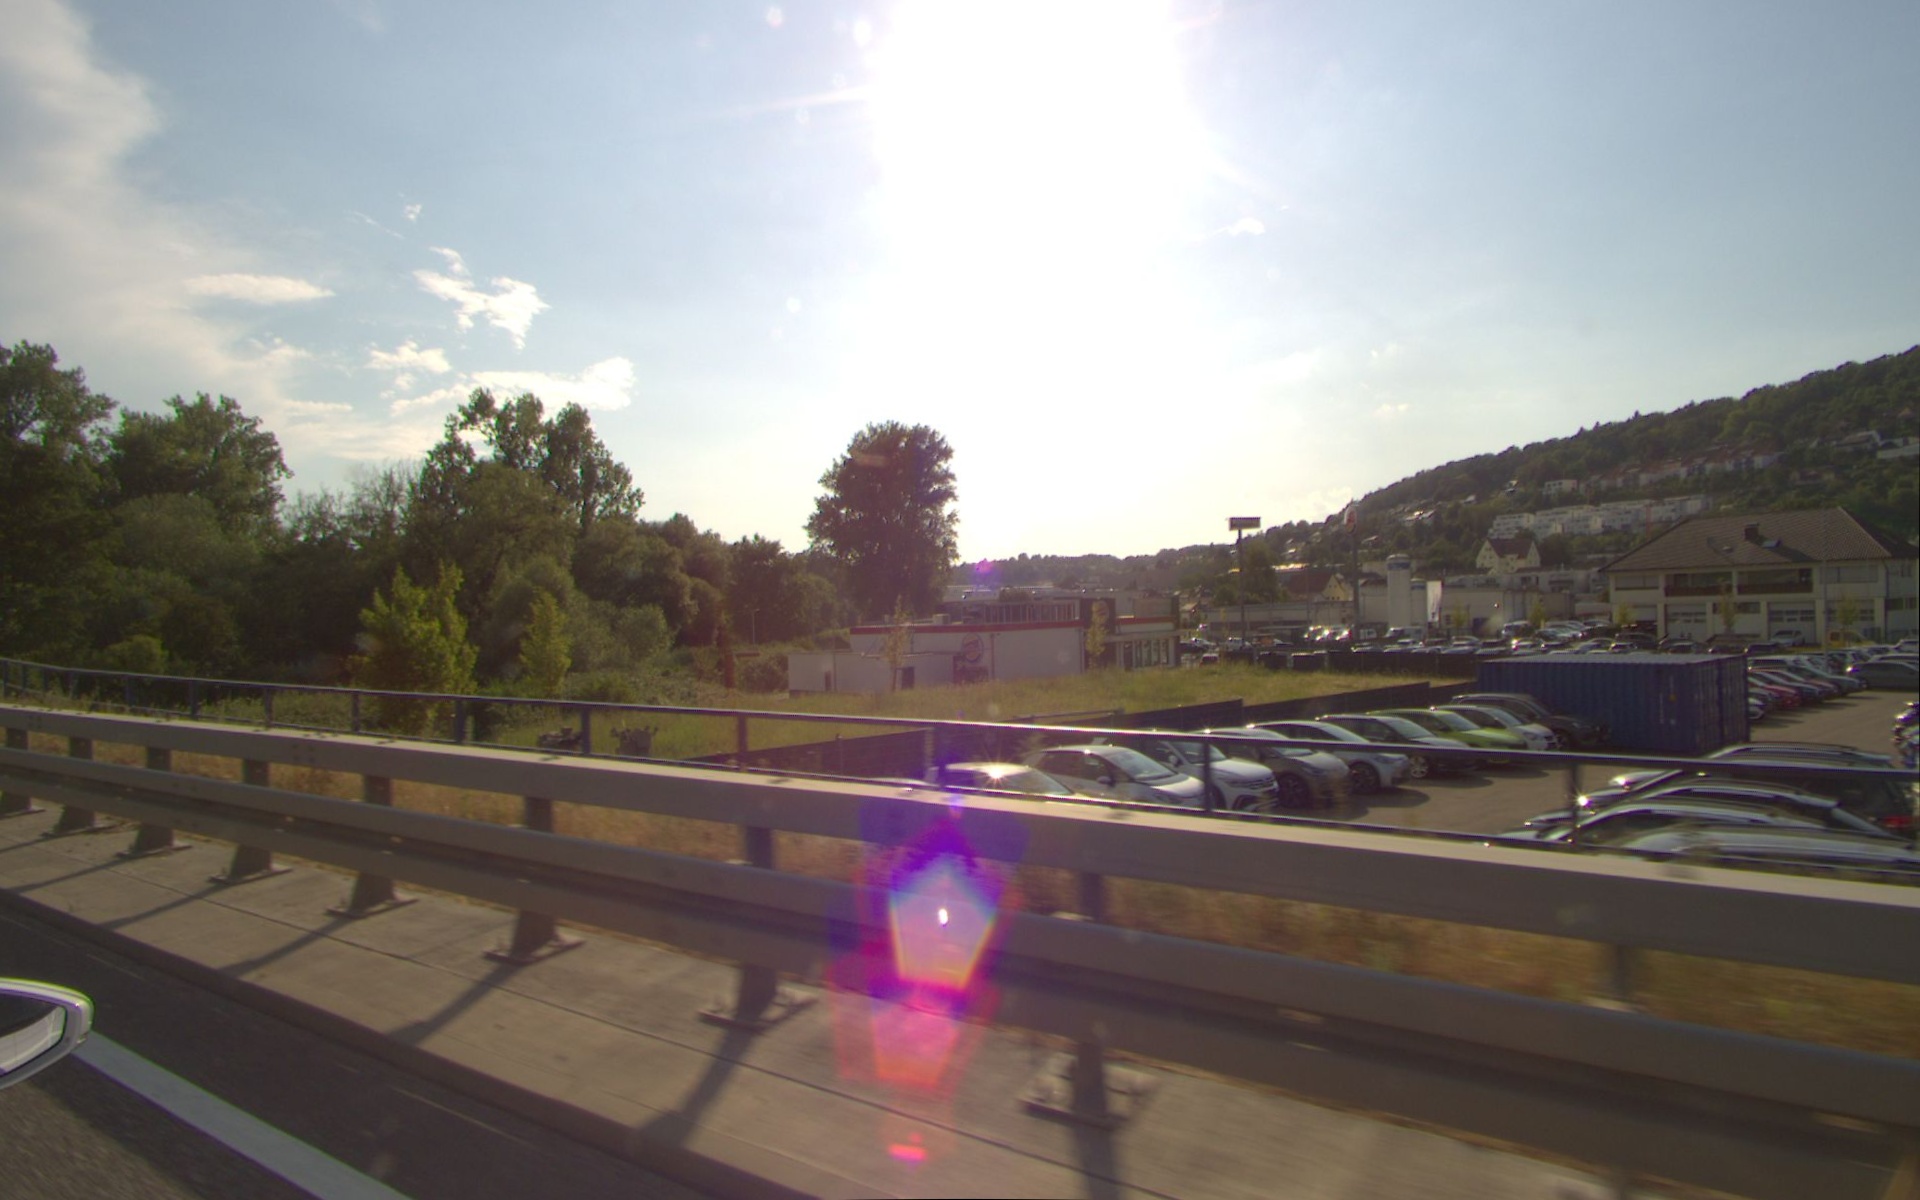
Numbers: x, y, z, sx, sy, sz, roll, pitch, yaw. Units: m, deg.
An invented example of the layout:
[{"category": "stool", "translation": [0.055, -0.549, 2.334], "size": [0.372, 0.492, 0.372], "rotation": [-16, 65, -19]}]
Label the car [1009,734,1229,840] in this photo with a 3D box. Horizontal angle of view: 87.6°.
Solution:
[{"category": "car", "translation": [3.026, 3.560, 19.608], "size": [1.807, 1.517, 3.961], "rotation": [2, -3, -45]}]

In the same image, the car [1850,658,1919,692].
[{"category": "car", "translation": [47.093, 3.736, 50.026], "size": [1.734, 1.597, 3.748], "rotation": [1, -3, -41]}]

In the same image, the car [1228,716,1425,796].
[{"category": "car", "translation": [8.678, 3.641, 23.912], "size": [3.960, 1.482, 1.942], "rotation": [-3, -3, 44]}]

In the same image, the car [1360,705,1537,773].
[{"category": "car", "translation": [13.208, 3.704, 27.245], "size": [1.694, 1.482, 3.965], "rotation": [1, -3, -42]}]

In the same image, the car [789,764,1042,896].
[{"category": "car", "translation": [-0.788, 3.614, 16.300], "size": [3.950, 1.482, 1.701], "rotation": [-3, -3, 37]}]

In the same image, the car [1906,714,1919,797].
[{"category": "car", "translation": [22.334, 3.305, 20.574], "size": [3.950, 1.705, 1.769], "rotation": [-3, -3, 37]}]

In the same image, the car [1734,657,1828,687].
[{"category": "car", "translation": [45.719, 3.975, 55.809], "size": [1.732, 1.597, 3.753], "rotation": [1, -3, -38]}]

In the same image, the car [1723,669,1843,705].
[{"category": "car", "translation": [36.956, 3.881, 45.016], "size": [1.694, 1.482, 3.965], "rotation": [1, -3, -42]}]

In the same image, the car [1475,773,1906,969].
[{"category": "car", "translation": [8.571, 3.113, 12.158], "size": [3.946, 1.583, 1.702], "rotation": [-3, -3, 34]}]

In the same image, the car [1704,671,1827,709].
[{"category": "car", "translation": [35.044, 3.885, 43.632], "size": [1.694, 1.482, 3.965], "rotation": [1, -3, -42]}]

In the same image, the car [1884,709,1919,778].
[{"category": "car", "translation": [24.031, 3.346, 22.957], "size": [3.949, 1.482, 1.701], "rotation": [-3, -3, 37]}]

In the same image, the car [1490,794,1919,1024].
[{"category": "car", "translation": [7.485, 2.891, 9.799], "size": [3.944, 1.482, 1.703], "rotation": [-2, -3, 32]}]

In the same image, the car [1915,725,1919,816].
[{"category": "car", "translation": [19.325, 3.144, 17.207], "size": [3.950, 1.705, 1.769], "rotation": [-3, -3, 37]}]

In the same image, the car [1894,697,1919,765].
[{"category": "car", "translation": [25.938, 3.282, 24.742], "size": [3.949, 1.623, 1.701], "rotation": [-3, -3, 37]}]

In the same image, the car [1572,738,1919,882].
[{"category": "car", "translation": [12.076, 3.119, 15.480], "size": [4.300, 1.643, 1.700], "rotation": [-3, -3, 37]}]

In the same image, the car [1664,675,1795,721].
[{"category": "car", "translation": [29.736, 3.733, 38.749], "size": [1.734, 1.597, 3.748], "rotation": [1, -3, -41]}]

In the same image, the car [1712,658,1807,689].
[{"category": "car", "translation": [43.485, 3.984, 54.517], "size": [1.732, 1.597, 3.753], "rotation": [1, -3, -38]}]

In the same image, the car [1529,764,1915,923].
[{"category": "car", "translation": [10.111, 3.181, 13.673], "size": [3.946, 1.482, 1.702], "rotation": [-3, -3, 34]}]

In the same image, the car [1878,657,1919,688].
[{"category": "car", "translation": [50.921, 3.788, 52.655], "size": [1.734, 1.597, 3.748], "rotation": [1, -3, -41]}]

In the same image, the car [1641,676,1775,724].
[{"category": "car", "translation": [27.970, 3.698, 37.518], "size": [1.734, 1.597, 3.748], "rotation": [1, -3, -41]}]

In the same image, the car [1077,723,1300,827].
[{"category": "car", "translation": [4.730, 3.574, 21.130], "size": [4.201, 1.662, 1.942], "rotation": [-3, -3, 45]}]

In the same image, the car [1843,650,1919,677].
[{"category": "car", "translation": [58.246, 3.988, 63.006], "size": [1.732, 1.597, 3.753], "rotation": [1, -3, -38]}]

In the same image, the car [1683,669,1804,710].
[{"category": "car", "translation": [33.129, 3.736, 42.396], "size": [1.734, 1.597, 3.748], "rotation": [1, -3, -41]}]

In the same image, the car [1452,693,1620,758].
[{"category": "car", "translation": [17.109, 3.679, 29.854], "size": [3.960, 1.614, 1.942], "rotation": [-3, -3, 44]}]

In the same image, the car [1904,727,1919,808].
[{"category": "car", "translation": [20.781, 3.288, 18.984], "size": [3.949, 1.482, 1.701], "rotation": [-3, -3, 37]}]

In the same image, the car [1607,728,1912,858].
[{"category": "car", "translation": [13.843, 3.233, 17.475], "size": [3.960, 1.663, 1.942], "rotation": [-3, -3, 44]}]

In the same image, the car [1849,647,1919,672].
[{"category": "car", "translation": [61.288, 3.928, 65.986], "size": [1.732, 1.597, 3.753], "rotation": [1, -3, -38]}]

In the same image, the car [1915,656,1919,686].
[{"category": "car", "translation": [53.860, 3.796, 53.663], "size": [1.734, 1.597, 3.748], "rotation": [1, -3, -41]}]

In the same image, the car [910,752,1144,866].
[{"category": "car", "translation": [1.107, 3.607, 17.836], "size": [1.807, 1.371, 3.961], "rotation": [2, -3, -45]}]

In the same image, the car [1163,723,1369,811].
[{"category": "car", "translation": [6.774, 3.651, 22.409], "size": [3.960, 1.482, 1.942], "rotation": [-3, -3, 44]}]

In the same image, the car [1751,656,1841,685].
[{"category": "car", "translation": [49.119, 4.116, 58.895], "size": [1.732, 1.597, 3.753], "rotation": [1, -3, -38]}]

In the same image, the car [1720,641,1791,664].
[{"category": "car", "translation": [58.514, 3.866, 73.693], "size": [1.732, 1.597, 3.753], "rotation": [1, -3, -38]}]

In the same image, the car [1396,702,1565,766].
[{"category": "car", "translation": [14.895, 3.787, 28.793], "size": [1.694, 1.482, 3.965], "rotation": [1, -3, -42]}]

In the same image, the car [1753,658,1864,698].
[{"category": "car", "translation": [40.710, 3.715, 48.085], "size": [3.960, 1.771, 1.982], "rotation": [-3, -3, 44]}]

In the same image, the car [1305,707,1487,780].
[{"category": "car", "translation": [11.254, 3.657, 26.012], "size": [3.960, 1.521, 1.796], "rotation": [-3, -3, 44]}]
